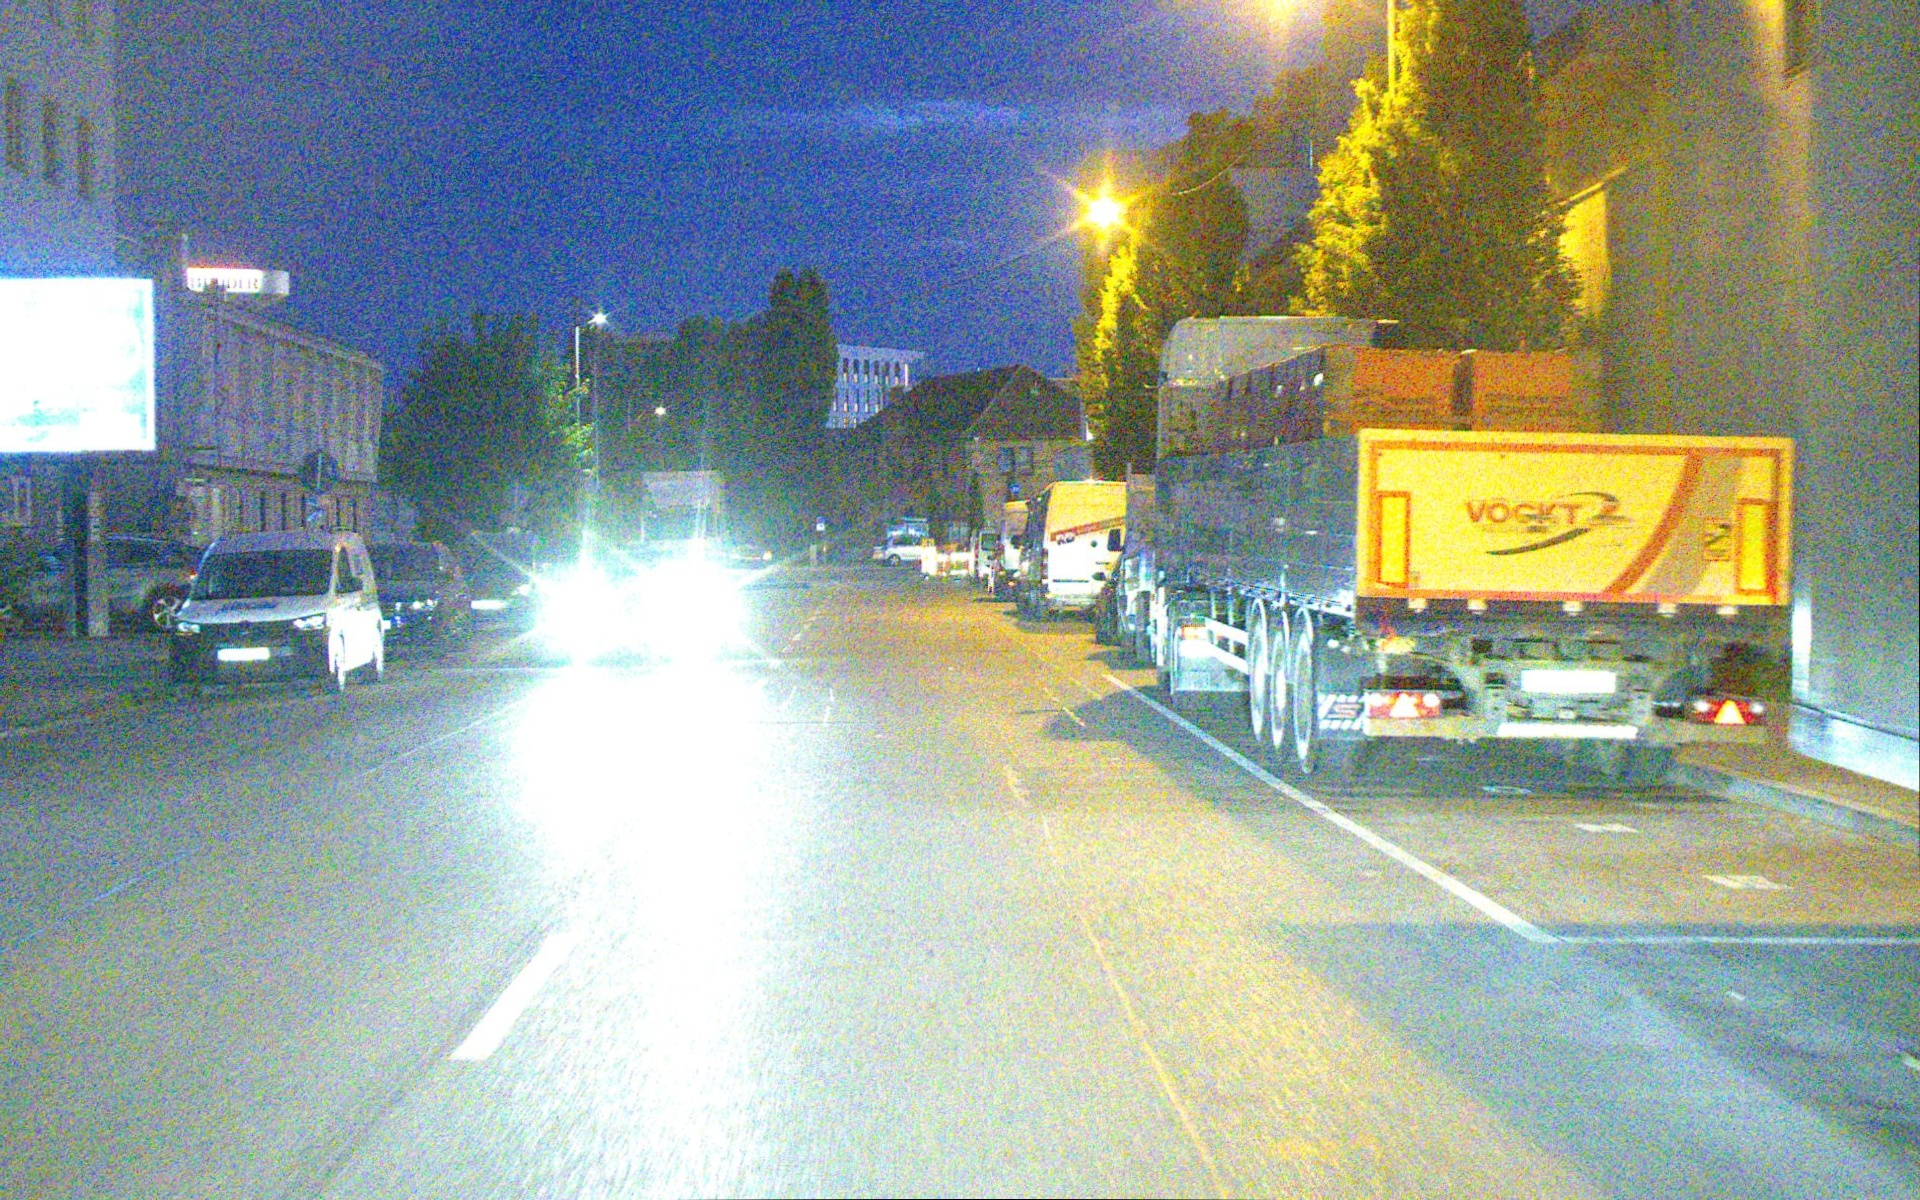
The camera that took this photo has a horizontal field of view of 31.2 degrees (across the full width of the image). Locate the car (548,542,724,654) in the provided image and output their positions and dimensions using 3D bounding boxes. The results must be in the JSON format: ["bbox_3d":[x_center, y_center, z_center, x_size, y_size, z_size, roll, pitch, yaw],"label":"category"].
[{"bbox_3d":[-4.219,-0.060,45.302,1.993,1.393,4.000,0,1,-1],"label":"car"}]

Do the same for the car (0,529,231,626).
[{"bbox_3d":[-14.110,-0.370,54.704,4.612,1.480,2.001,-1,1,-23],"label":"car"}]

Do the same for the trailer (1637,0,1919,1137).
[{"bbox_3d":[3.919,-0.307,8.117,2.686,3.452,7.810,0,0,-3],"label":"trailer"}]

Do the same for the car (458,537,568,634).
[{"bbox_3d":[-8.263,-0.300,63.811,1.897,1.730,4.356,-1,1,-6],"label":"car"}]

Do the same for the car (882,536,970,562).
[{"bbox_3d":[-1.792,-2.674,180.743,4.531,1.375,2.000,0,0,3],"label":"car"}]

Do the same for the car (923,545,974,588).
[{"bbox_3d":[-0.473,-1.339,136.227,1.993,1.678,4.000,0,1,-1],"label":"car"}]

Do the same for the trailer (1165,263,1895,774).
[{"bbox_3d":[3.484,-0.496,24.439,3.184,2.739,10.715,-2,0,-1],"label":"trailer"}]

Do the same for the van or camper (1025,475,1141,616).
[{"bbox_3d":[2.295,-1.046,65.325,1.993,2.573,4.915,0,1,0],"label":"van or camper"}]

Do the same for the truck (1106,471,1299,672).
[{"bbox_3d":[3.015,-0.386,43.750,1.993,2.399,5.293,0,1,-1],"label":"truck"}]

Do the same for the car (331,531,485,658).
[{"bbox_3d":[-7.843,-0.116,49.179,1.678,1.730,4.356,0,1,-3],"label":"car"}]

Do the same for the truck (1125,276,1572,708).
[{"bbox_3d":[3.351,-0.919,31.577,3.151,3.451,6.673,-2,0,-1],"label":"truck"}]

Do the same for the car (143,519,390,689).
[{"bbox_3d":[-7.664,0.010,38.355,1.993,1.787,4.000,0,1,-1],"label":"car"}]

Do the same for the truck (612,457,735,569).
[{"bbox_3d":[-9.684,-2.880,115.317,3.889,3.609,8.262,0,1,-6],"label":"truck"}]

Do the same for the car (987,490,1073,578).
[{"bbox_3d":[1.720,-1.653,85.867,1.993,2.138,4.000,0,1,-1],"label":"car"}]
